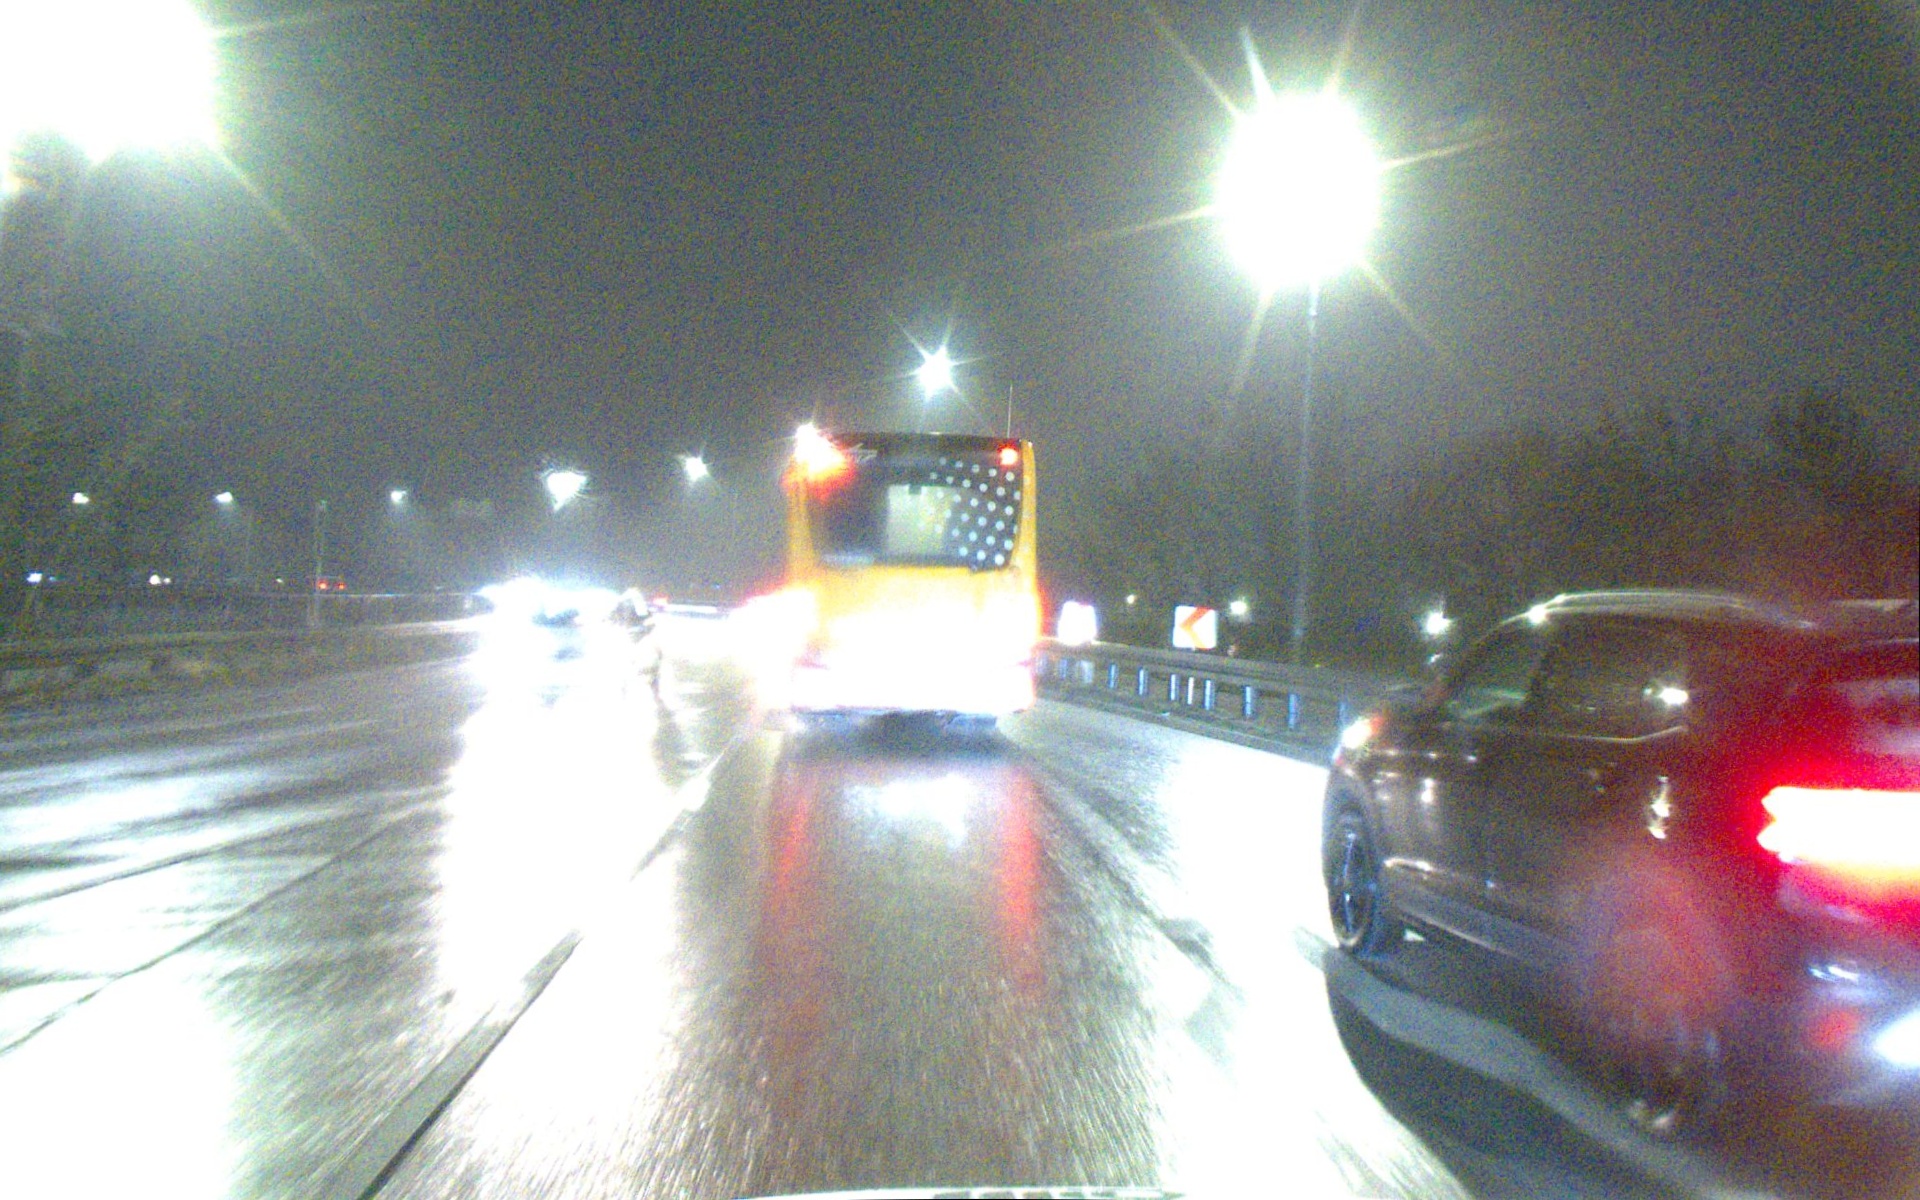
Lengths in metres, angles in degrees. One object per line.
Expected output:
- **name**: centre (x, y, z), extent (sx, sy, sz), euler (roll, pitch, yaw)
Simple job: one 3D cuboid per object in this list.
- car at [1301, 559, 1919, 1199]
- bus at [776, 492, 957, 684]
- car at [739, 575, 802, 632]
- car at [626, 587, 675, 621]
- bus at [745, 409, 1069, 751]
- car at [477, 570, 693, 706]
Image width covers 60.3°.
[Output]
- **car**: centre (2.703, 0.719, 5.958), extent (1.820, 1.614, 3.995), euler (0, 0, -5)
- **bus**: centre (-1.973, -0.226, 32.188), extent (2.990, 3.186, 8.069), euler (2, 0, -6)
- **car**: centre (-7.318, 0.117, 63.537), extent (1.959, 2.049, 3.987), euler (2, 0, -13)
- **car**: centre (-16.997, 0.211, 90.773), extent (1.964, 1.769, 3.976), euler (2, 0, -20)
- **bus**: centre (-0.997, -0.243, 22.016), extent (3.023, 3.187, 12.685), euler (1, 0, -5)
- **car**: centre (-5.202, 0.483, 23.622), extent (1.958, 1.704, 4.617), euler (2, 0, 0)
